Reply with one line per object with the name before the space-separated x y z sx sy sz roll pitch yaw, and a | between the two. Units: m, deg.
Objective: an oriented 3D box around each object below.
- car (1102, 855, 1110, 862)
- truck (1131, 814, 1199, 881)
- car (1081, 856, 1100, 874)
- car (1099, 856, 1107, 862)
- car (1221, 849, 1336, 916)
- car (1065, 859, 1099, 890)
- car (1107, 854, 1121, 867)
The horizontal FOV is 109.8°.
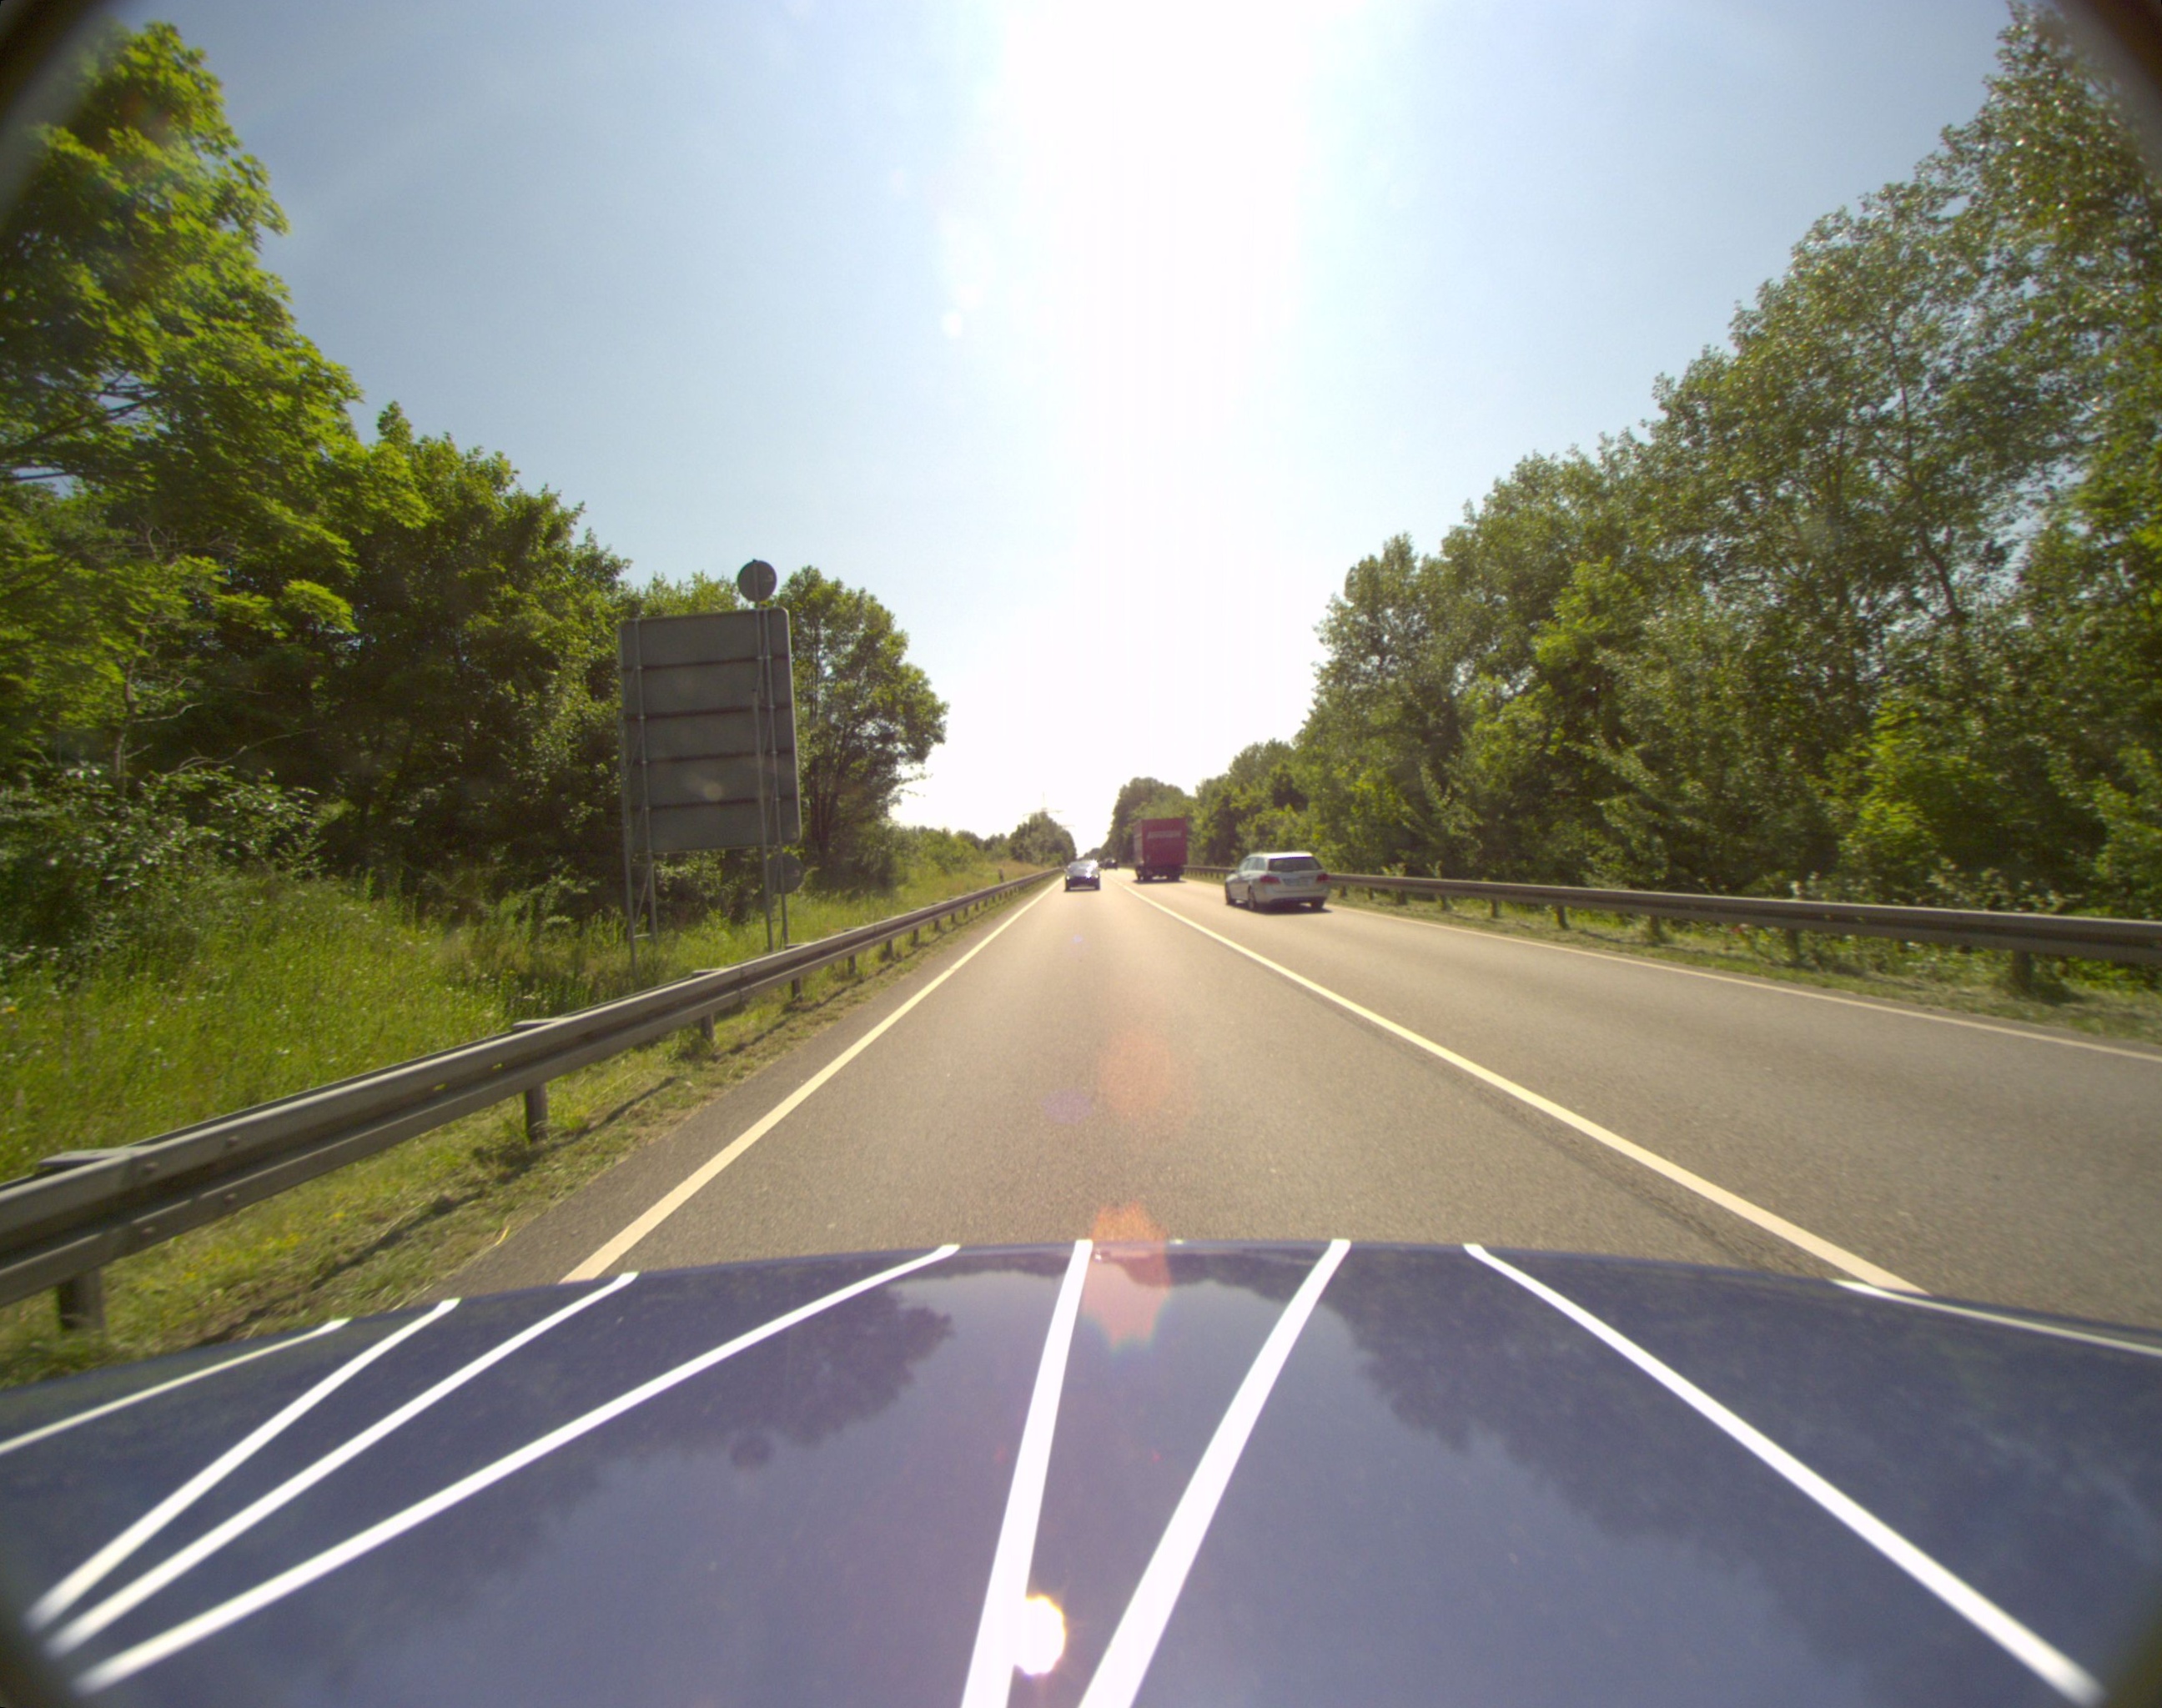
car | 5.894 1.076 179.945 1.762 1.532 3.806 -2 0 0
truck | 5.071 -0.368 47.753 3.200 3.678 9.006 -2 0 0
car | 0.797 0.961 66.336 1.443 1.443 3.297 -2 0 -1
car | 5.661 1.224 197.155 1.762 1.532 3.806 -2 0 0
car | 5.188 0.678 20.607 1.823 1.537 4.526 -2 0 -1
car | 0.072 0.973 37.011 1.529 1.387 3.443 -2 0 0
car | 4.584 0.859 106.257 1.762 1.694 4.000 -2 0 0
